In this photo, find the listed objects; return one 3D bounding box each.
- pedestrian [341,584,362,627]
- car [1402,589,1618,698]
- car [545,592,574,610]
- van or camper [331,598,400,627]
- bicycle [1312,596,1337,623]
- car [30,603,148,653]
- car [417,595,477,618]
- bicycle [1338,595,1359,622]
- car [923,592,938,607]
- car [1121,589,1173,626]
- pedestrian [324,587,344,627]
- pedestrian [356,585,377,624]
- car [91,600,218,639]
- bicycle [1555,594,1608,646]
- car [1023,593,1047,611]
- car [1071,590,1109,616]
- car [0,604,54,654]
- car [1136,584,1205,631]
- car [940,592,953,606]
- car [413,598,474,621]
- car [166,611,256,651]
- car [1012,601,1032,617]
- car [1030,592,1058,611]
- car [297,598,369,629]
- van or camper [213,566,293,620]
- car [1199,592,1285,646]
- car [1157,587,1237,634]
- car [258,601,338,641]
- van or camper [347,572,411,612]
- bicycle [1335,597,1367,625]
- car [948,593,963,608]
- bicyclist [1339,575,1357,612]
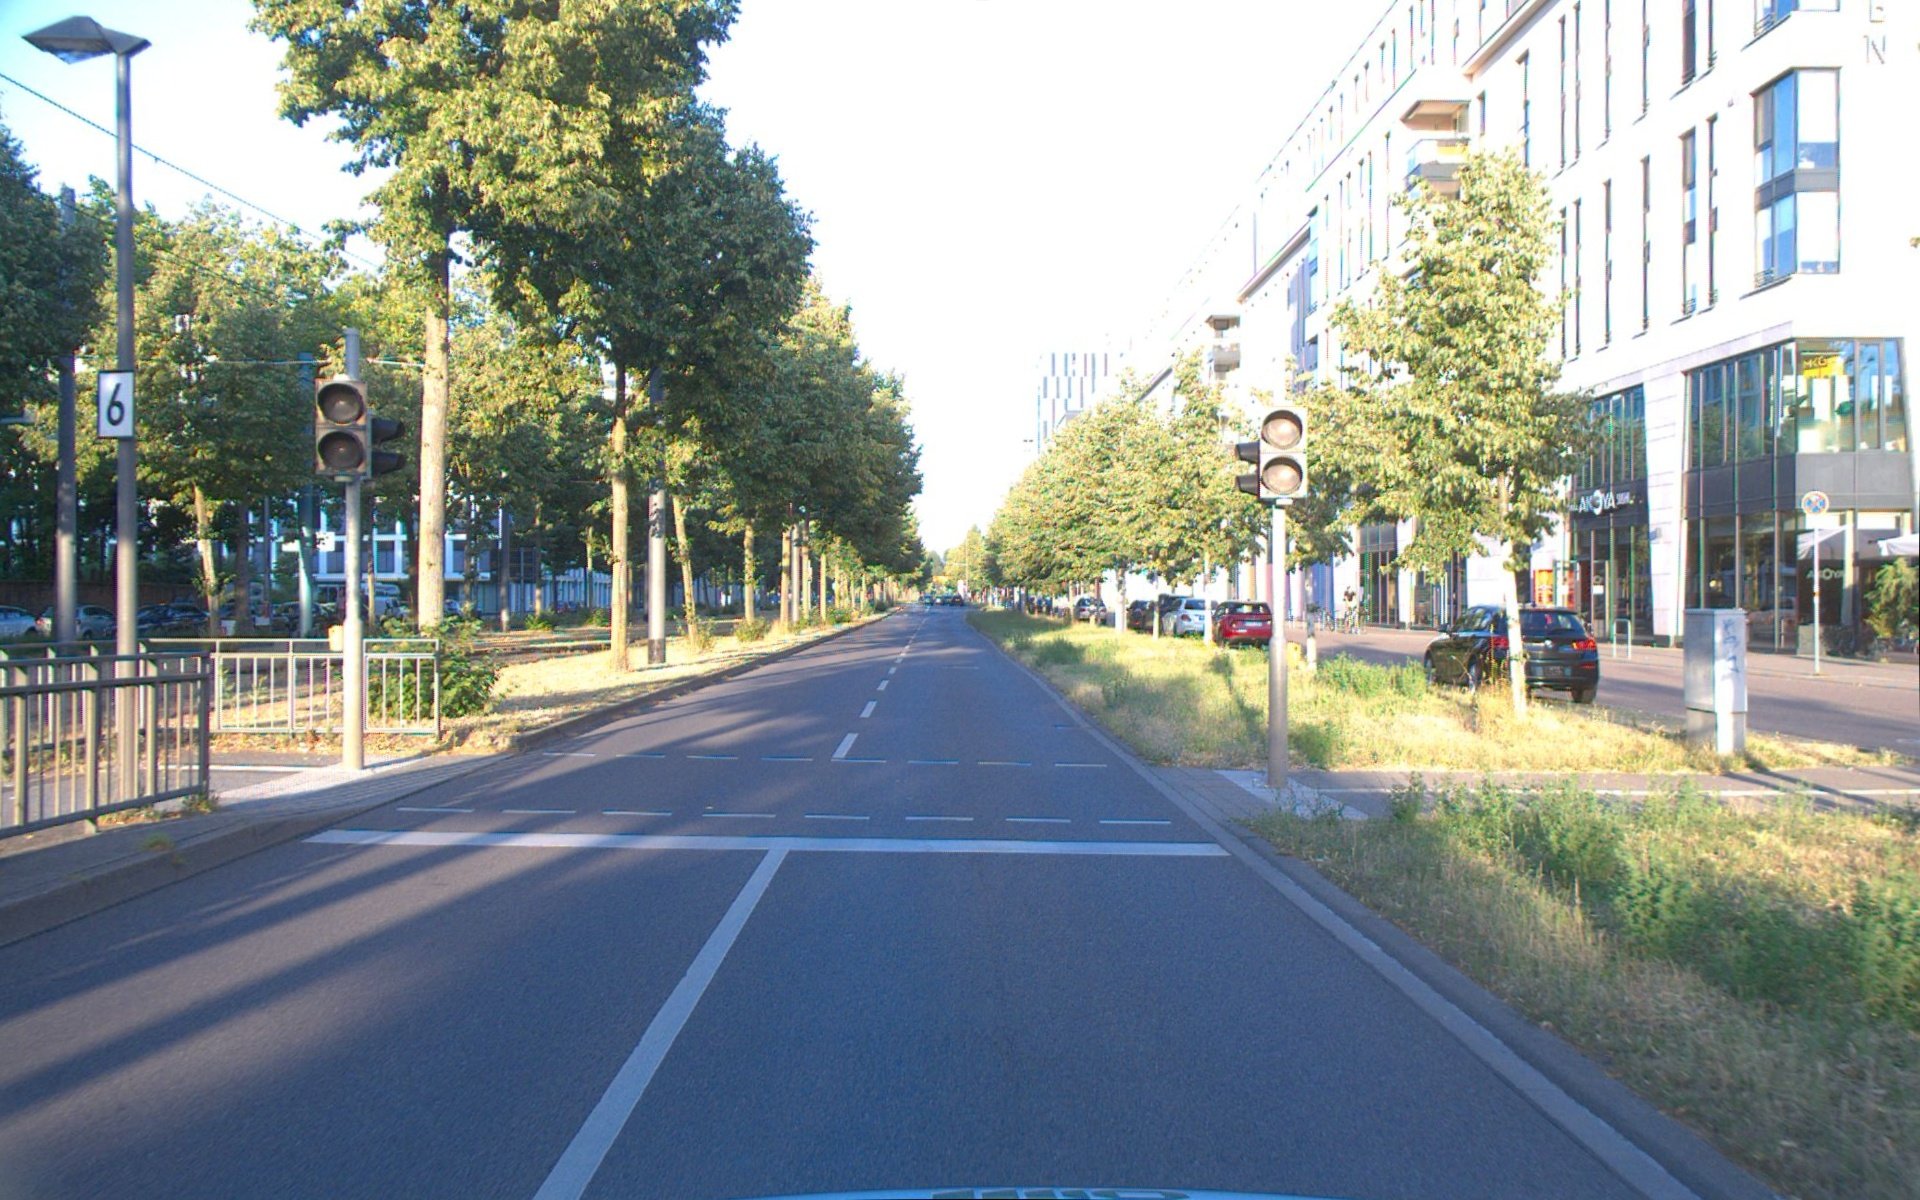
[{"bbox_3d":[-27.612,0.249,75.057,0.680,1.903,0.864,0,0,-8],"label":"pedestrian"},{"bbox_3d":[8.292,0.595,25.361,1.772,1.527,4.367,0,0,-2],"label":"car"},{"bbox_3d":[-36.824,0.071,152.062,1.822,1.609,3.492,0,0,0],"label":"car"},{"bbox_3d":[-38.599,0.788,107.395,3.916,1.822,1.995,0,0,-11],"label":"van or camper"},{"bbox_3d":[15.045,0.386,68.324,0.523,1.078,1.610,0,0,-6],"label":"bicycle"},{"bbox_3d":[-32.172,1.014,61.235,1.951,1.780,4.162,0,0,4],"label":"car"},{"bbox_3d":[-38.264,0.497,123.345,3.908,1.668,1.920,0,0,-4],"label":"car"},{"bbox_3d":[16.529,0.365,70.398,0.532,1.138,1.913,0,0,2],"label":"bicycle"},{"bbox_3d":[-4.260,-0.059,238.387,2.045,2.049,3.999,0,0,-2],"label":"car"},{"bbox_3d":[8.042,0.313,71.431,1.689,1.527,4.232,1,0,0],"label":"car"},{"bbox_3d":[-28.293,0.299,74.747,0.680,1.789,0.864,0,0,-8],"label":"pedestrian"},{"bbox_3d":[-26.794,0.195,74.669,0.679,1.773,0.866,0,0,-3],"label":"pedestrian"},{"bbox_3d":[-29.594,0.695,61.000,1.952,1.338,5.144,0,0,3],"label":"car"},{"bbox_3d":[15.357,0.492,40.886,0.604,1.253,1.670,0,0,-3],"label":"bicycle"},{"bbox_3d":[6.749,0.203,148.573,1.817,1.556,4.482,1,0,-1],"label":"car"},{"bbox_3d":[7.648,0.148,97.620,1.772,1.527,4.824,0,0,-2],"label":"car"},{"bbox_3d":[-30.287,0.885,51.439,1.861,1.525,4.306,0,0,0],"label":"car"},{"bbox_3d":[8.094,0.270,64.050,1.914,1.652,4.819,2,0,-1],"label":"car"},{"bbox_3d":[-1.960,-0.149,244.254,1.953,2.049,4.000,0,0,0],"label":"car"},{"bbox_3d":[-37.750,0.707,120.980,3.908,1.668,1.920,0,0,-4],"label":"car"},{"bbox_3d":[-31.097,1.256,68.774,1.765,1.588,3.840,0,0,5],"label":"car"},{"bbox_3d":[6.260,0.859,167.028,1.689,1.556,4.267,1,0,-1],"label":"car"},{"bbox_3d":[7.151,0.134,141.629,1.904,1.576,4.809,0,0,-3],"label":"car"},{"bbox_3d":[-31.508,0.646,83.235,1.952,1.512,4.001,0,0,2],"label":"car"},{"bbox_3d":[-37.261,-0.353,87.383,2.043,2.783,5.492,0,0,-2],"label":"van or camper"},{"bbox_3d":[8.270,0.536,48.864,1.772,1.527,3.958,0,0,-2],"label":"car"},{"bbox_3d":[8.009,0.323,56.325,1.882,1.527,5.008,0,0,-2],"label":"car"},{"bbox_3d":[-31.284,0.970,78.264,1.953,1.780,4.789,0,0,-1],"label":"car"},{"bbox_3d":[-46.867,-0.673,133.622,2.653,3.139,6.264,0,0,3],"label":"van or camper"},{"bbox_3d":[14.824,0.419,62.752,0.607,1.051,2.260,0,0,-2],"label":"bicycle"},{"bbox_3d":[-0.630,0.039,227.885,1.953,2.049,3.999,0,0,-2],"label":"car"},{"bbox_3d":[16.520,-0.276,70.412,0.533,1.596,1.020,0,0,2],"label":"bicyclist"}]
